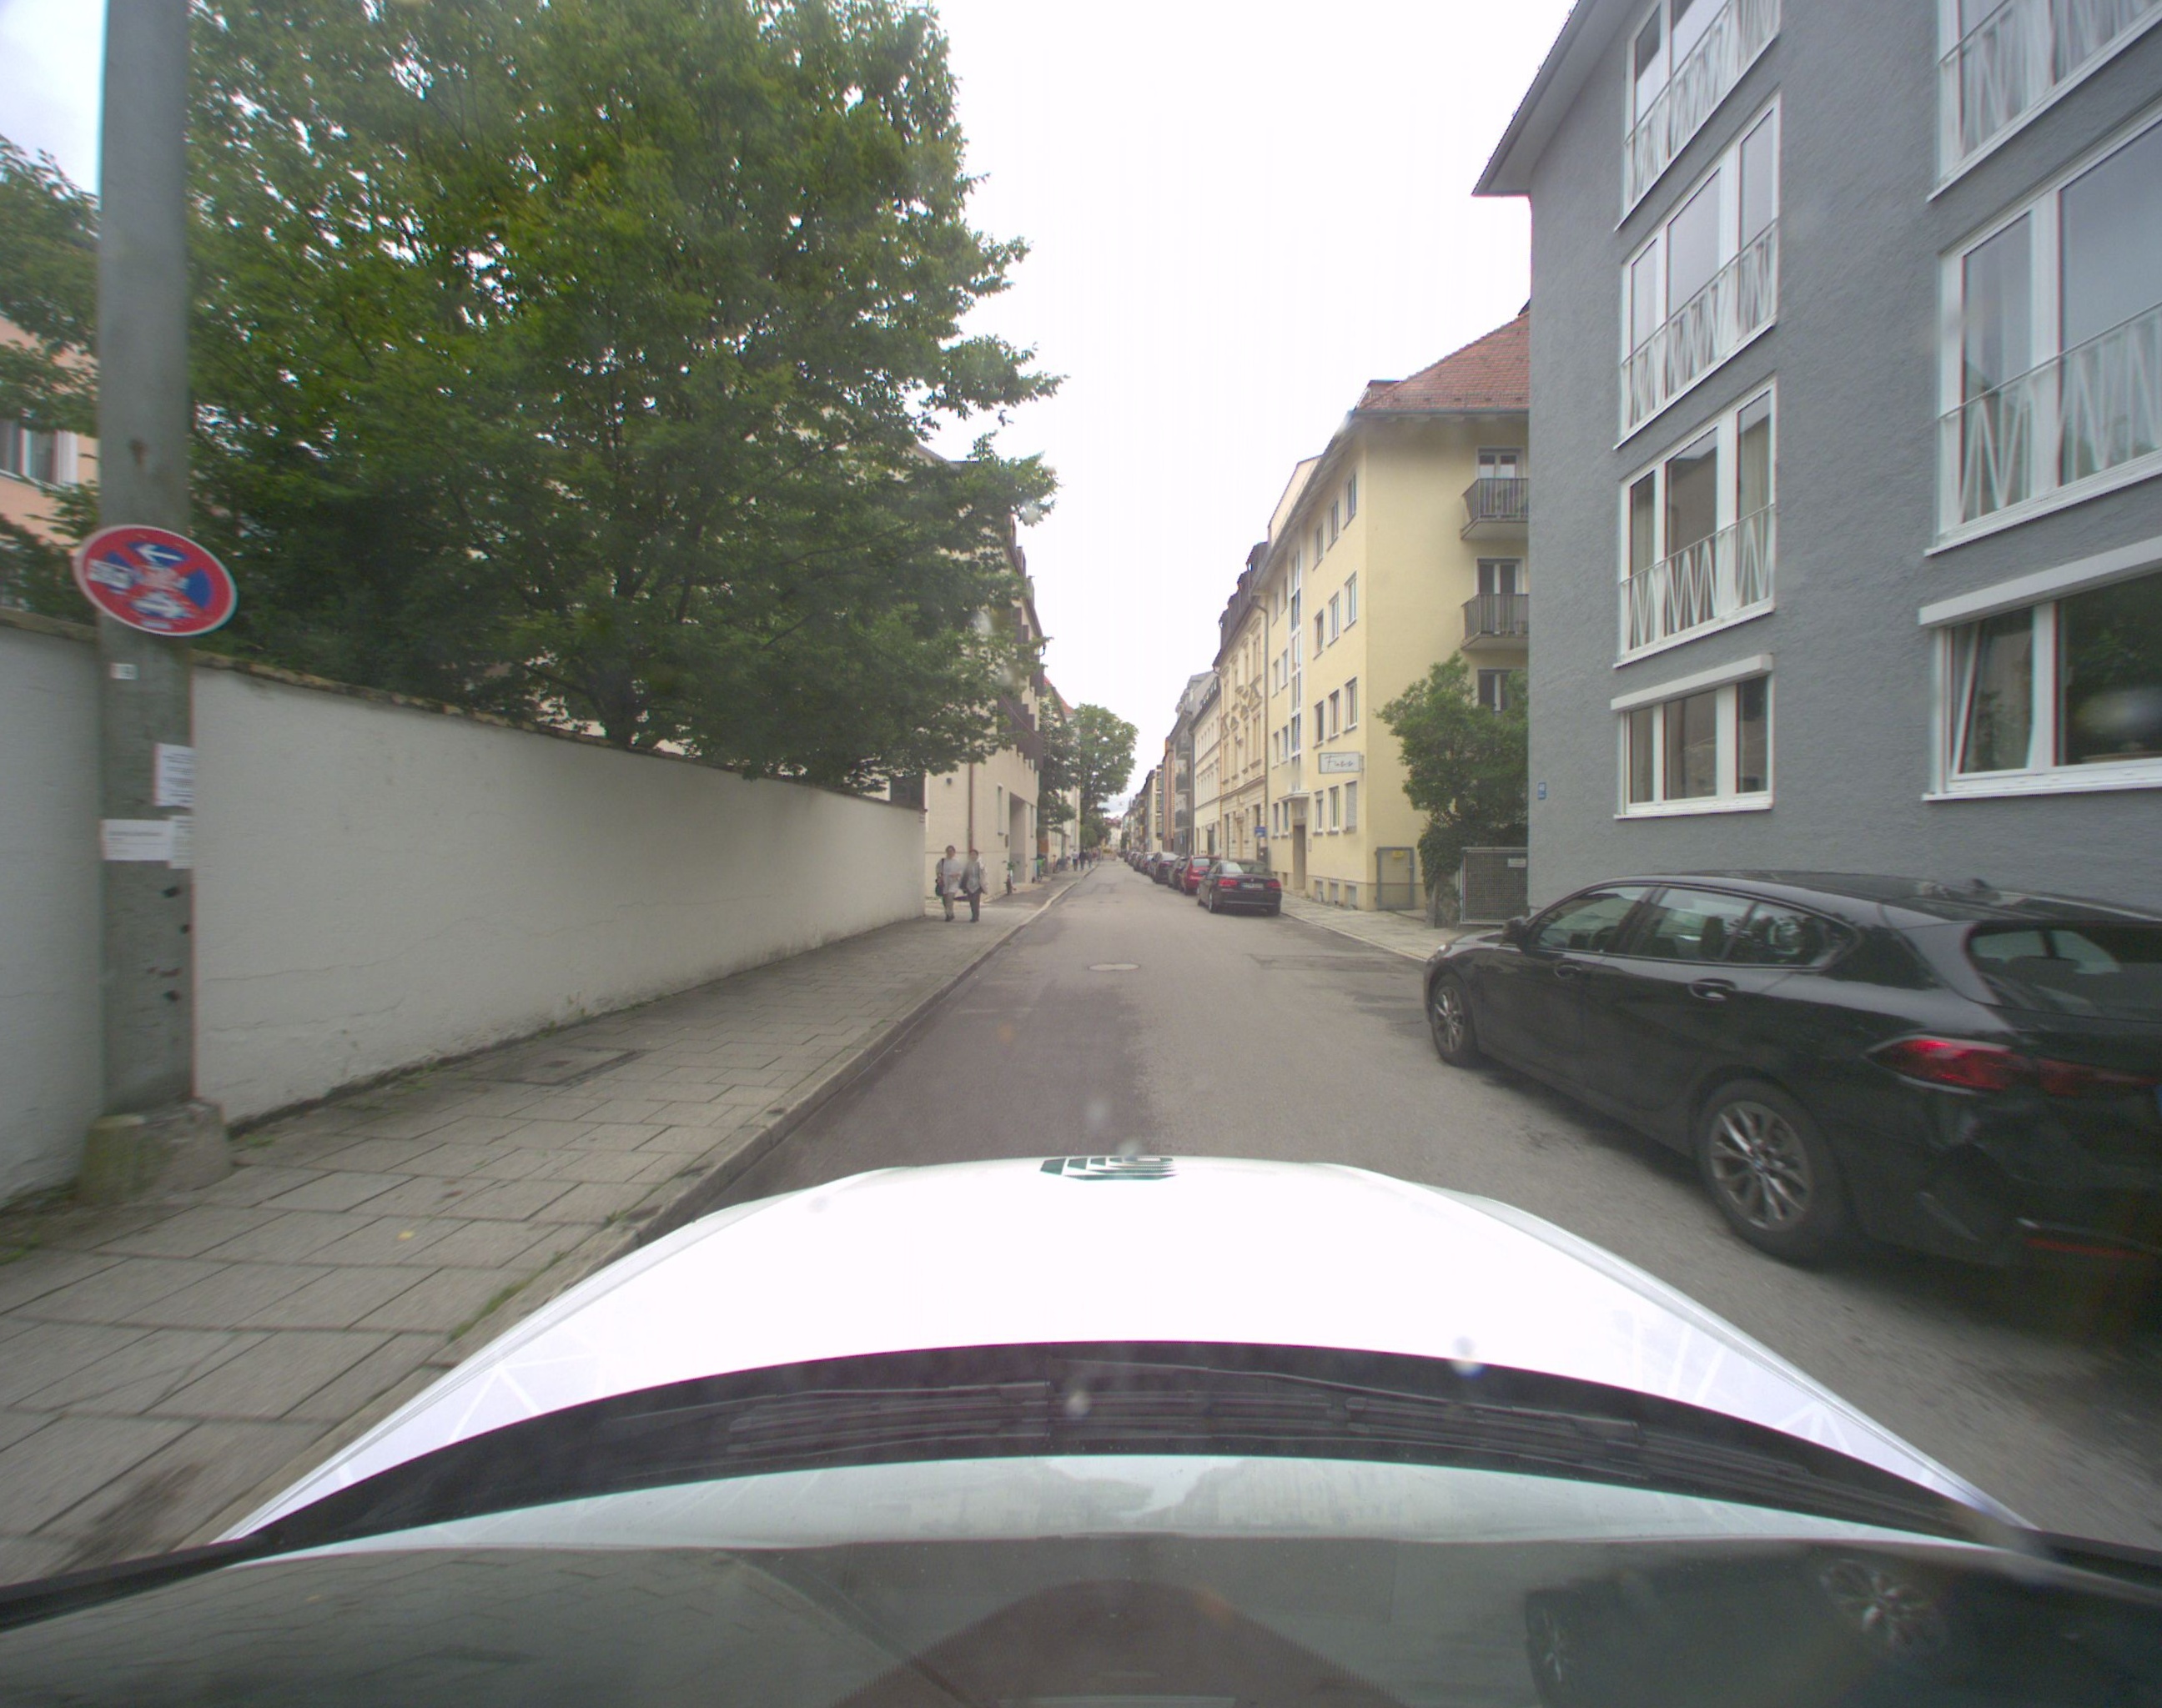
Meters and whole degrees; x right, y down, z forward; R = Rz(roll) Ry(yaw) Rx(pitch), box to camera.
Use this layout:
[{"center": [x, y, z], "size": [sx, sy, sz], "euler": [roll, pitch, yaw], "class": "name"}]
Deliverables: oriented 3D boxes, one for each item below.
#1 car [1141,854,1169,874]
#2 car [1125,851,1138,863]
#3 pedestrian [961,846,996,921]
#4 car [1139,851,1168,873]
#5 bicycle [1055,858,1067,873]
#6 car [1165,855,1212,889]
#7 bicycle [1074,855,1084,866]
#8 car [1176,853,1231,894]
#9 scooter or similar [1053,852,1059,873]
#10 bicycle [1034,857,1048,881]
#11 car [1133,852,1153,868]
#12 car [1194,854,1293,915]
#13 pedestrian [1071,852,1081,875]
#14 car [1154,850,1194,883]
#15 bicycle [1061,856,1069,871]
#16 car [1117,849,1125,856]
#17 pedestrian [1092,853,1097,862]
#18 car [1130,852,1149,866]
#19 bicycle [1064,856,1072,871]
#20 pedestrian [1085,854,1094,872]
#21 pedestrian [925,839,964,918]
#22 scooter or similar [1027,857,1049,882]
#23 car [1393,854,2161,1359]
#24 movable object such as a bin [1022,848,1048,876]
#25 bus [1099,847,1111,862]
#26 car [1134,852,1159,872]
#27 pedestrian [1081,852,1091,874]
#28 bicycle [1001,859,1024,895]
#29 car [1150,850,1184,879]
[{"center": [5.266, 0.710, 58.238], "size": [1.800, 1.363, 3.948], "euler": [-1, 0, 3], "class": "car"}, {"center": [8.037, 0.475, 129.381], "size": [1.795, 1.820, 3.999], "euler": [3, 0, 0], "class": "car"}, {"center": [-2.195, 0.619, 17.520], "size": [0.620, 1.579, 0.714], "euler": [1, -1, 1], "class": "pedestrian"}, {"center": [5.579, 0.583, 63.155], "size": [1.869, 1.570, 4.316], "euler": [-1, 0, 0], "class": "car"}, {"center": [-1.402, 0.783, 56.493], "size": [0.702, 0.984, 1.821], "euler": [4, 0, -2], "class": "bicycle"}, {"center": [4.707, 0.755, 36.179], "size": [1.669, 1.393, 4.067], "euler": [0, 0, 2], "class": "car"}, {"center": [-0.270, 0.727, 89.314], "size": [0.643, 1.217, 1.655], "euler": [-1, -1, -17], "class": "bicycle"}, {"center": [4.678, 0.701, 31.584], "size": [1.669, 1.492, 3.855], "euler": [0, 0, 2], "class": "car"}, {"center": [-1.698, 0.589, 54.768], "size": [0.316, 1.376, 1.239], "euler": [-1, -1, 2], "class": "scooter or similar"}, {"center": [-2.034, 0.746, 41.430], "size": [0.542, 1.161, 1.882], "euler": [2, 0, 1], "class": "bicycle"}, {"center": [6.060, 0.549, 79.921], "size": [1.769, 1.555, 4.002], "euler": [0, 0, 2], "class": "car"}, {"center": [4.223, 0.732, 21.871], "size": [1.819, 1.334, 4.510], "euler": [4, 0, 2], "class": "car"}, {"center": [-0.386, 0.725, 64.576], "size": [0.715, 1.796, 0.917], "euler": [2, -1, 2], "class": "pedestrian"}, {"center": [4.837, 0.618, 42.799], "size": [1.695, 1.607, 4.687], "euler": [0, 0, 2], "class": "car"}, {"center": [-1.241, 0.743, 64.638], "size": [0.456, 1.159, 1.606], "euler": [2, 0, 3], "class": "bicycle"}, {"center": [10.228, -0.411, 207.316], "size": [1.795, 1.712, 3.827], "euler": [3, 0, 0], "class": "car"}, {"center": [2.303, 0.584, 138.801], "size": [0.753, 1.491, 0.831], "euler": [-1, -1, 2], "class": "pedestrian"}, {"center": [6.642, 0.578, 92.626], "size": [1.879, 1.555, 4.391], "euler": [0, 0, 0], "class": "car"}, {"center": [-1.098, 0.754, 66.352], "size": [0.560, 1.159, 1.718], "euler": [0, 0, -4], "class": "bicycle"}, {"center": [0.837, 0.843, 77.810], "size": [0.750, 1.659, 0.907], "euler": [2, -1, 2], "class": "pedestrian"}, {"center": [-2.894, 0.512, 17.283], "size": [0.611, 1.621, 0.688], "euler": [2, 0, 2], "class": "pedestrian"}, {"center": [-2.064, 0.746, 39.365], "size": [0.547, 1.144, 1.365], "euler": [2, 0, 19], "class": "scooter or similar"}, {"center": [3.501, 0.779, 4.533], "size": [1.835, 1.428, 4.263], "euler": [4, 0, 0], "class": "car"}, {"center": [-2.638, 0.454, 46.920], "size": [1.168, 1.442, 1.251], "euler": [5, 2, 8], "class": "movable object such as a bin"}, {"center": [5.176, 0.045, 175.194], "size": [2.582, 3.102, 6.309], "euler": [-1, 0, 2], "class": "bus"}, {"center": [5.446, 0.644, 68.047], "size": [1.833, 1.528, 4.293], "euler": [0, 0, 1], "class": "car"}, {"center": [0.425, 0.702, 64.664], "size": [0.715, 1.765, 0.838], "euler": [2, -1, 2], "class": "pedestrian"}, {"center": [-2.332, 0.761, 27.785], "size": [0.536, 1.139, 1.917], "euler": [2, 0, 1], "class": "bicycle"}, {"center": [5.079, 0.584, 48.556], "size": [1.669, 1.661, 4.515], "euler": [0, 0, 2], "class": "car"}]
